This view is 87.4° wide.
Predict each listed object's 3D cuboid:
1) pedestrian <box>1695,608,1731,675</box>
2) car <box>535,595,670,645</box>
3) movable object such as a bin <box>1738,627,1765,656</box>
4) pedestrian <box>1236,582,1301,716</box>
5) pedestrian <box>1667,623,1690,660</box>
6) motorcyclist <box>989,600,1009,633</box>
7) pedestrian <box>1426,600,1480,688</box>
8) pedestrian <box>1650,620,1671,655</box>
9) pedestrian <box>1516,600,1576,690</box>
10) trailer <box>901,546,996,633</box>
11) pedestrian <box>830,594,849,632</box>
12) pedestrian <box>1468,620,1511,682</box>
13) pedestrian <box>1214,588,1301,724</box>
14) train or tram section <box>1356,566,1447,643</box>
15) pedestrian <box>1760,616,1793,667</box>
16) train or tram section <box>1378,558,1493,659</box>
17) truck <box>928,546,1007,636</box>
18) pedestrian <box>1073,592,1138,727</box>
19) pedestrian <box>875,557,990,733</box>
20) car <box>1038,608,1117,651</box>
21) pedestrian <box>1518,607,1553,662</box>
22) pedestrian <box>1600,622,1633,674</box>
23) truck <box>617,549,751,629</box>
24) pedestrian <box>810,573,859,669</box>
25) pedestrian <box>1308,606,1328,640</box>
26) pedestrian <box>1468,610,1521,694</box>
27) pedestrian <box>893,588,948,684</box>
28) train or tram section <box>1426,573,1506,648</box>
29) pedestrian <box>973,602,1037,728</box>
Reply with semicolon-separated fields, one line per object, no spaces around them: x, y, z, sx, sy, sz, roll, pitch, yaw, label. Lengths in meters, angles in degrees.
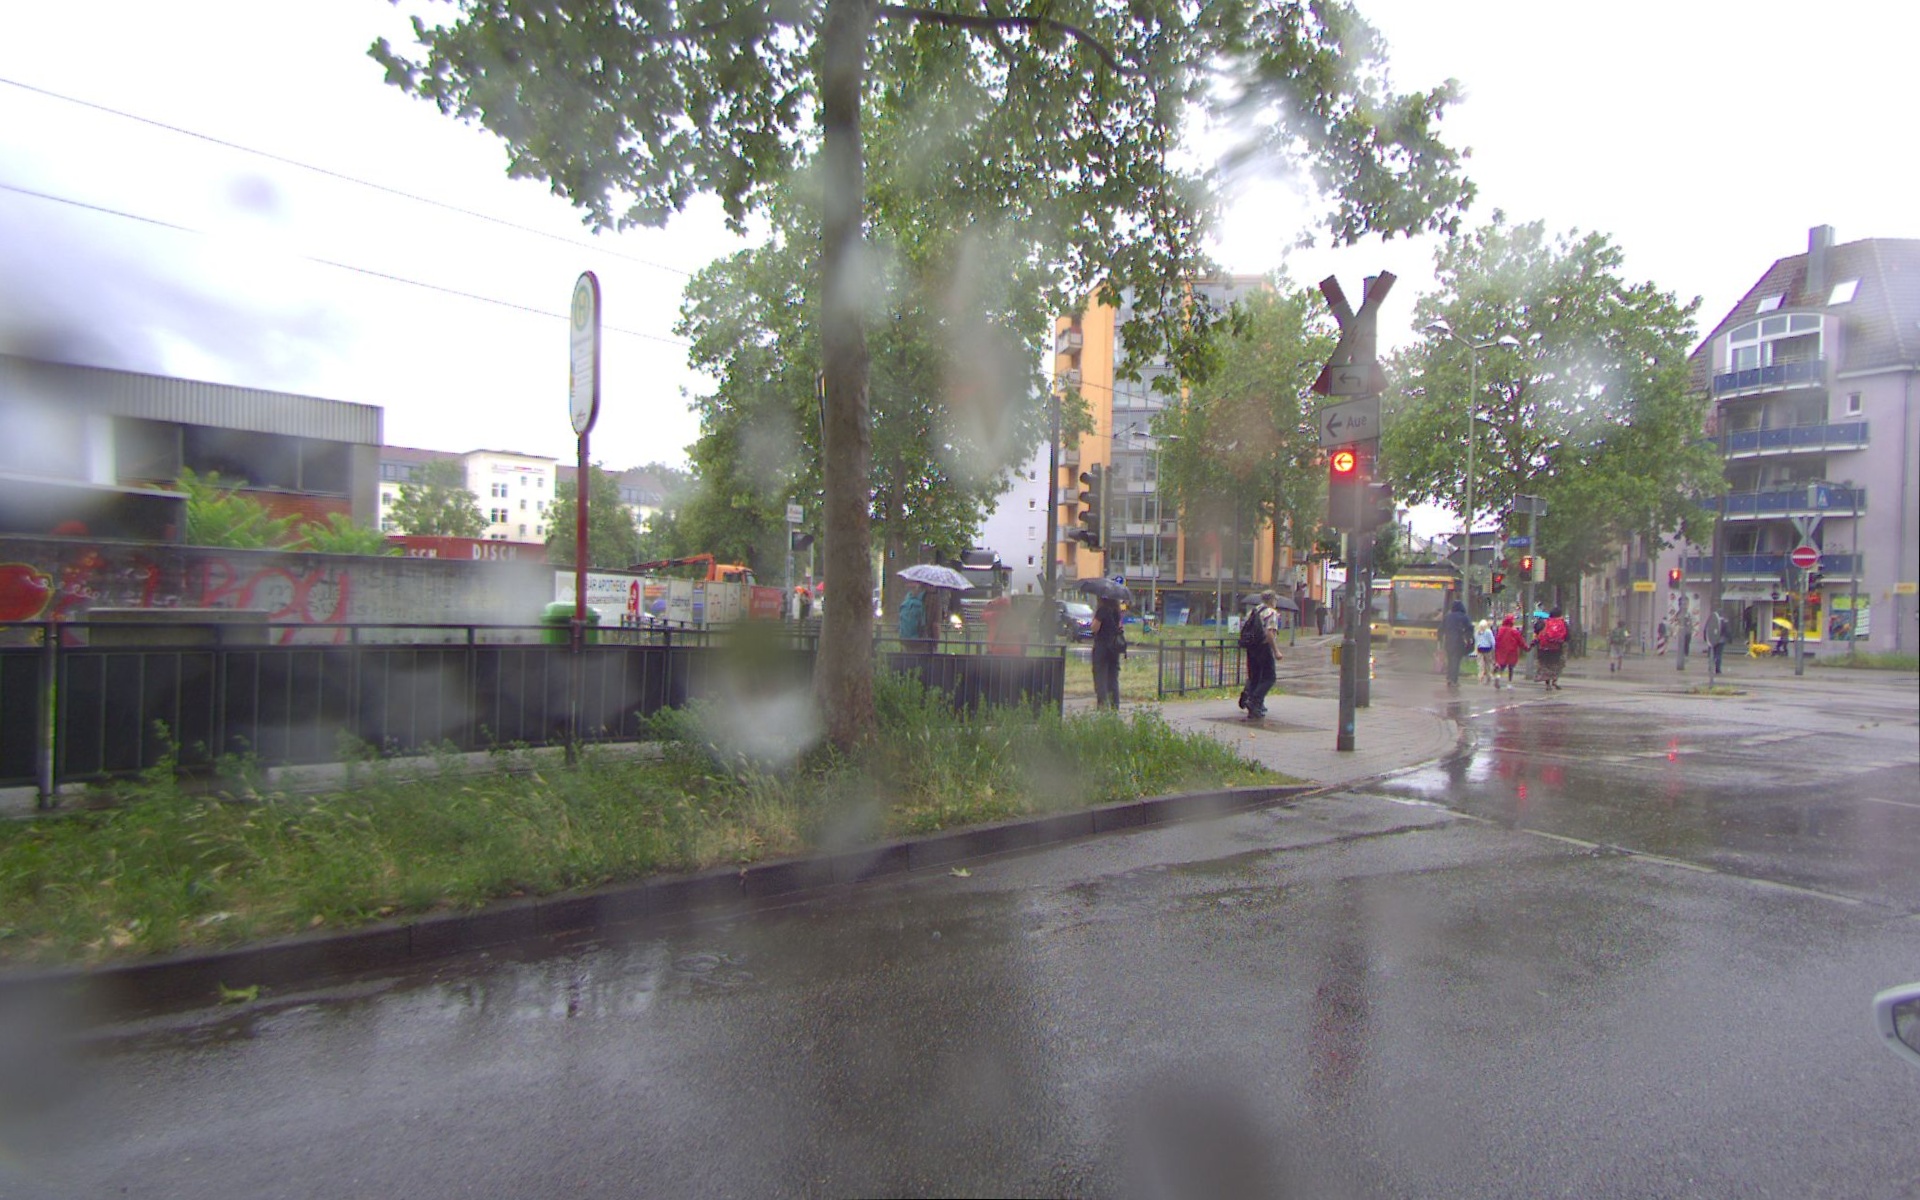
21.775;1.177;29.049;0.777;1.880;0.679;2;1;37;pedestrian
-10.430;0.580;29.403;3.447;1.323;1.405;2;0;10;car
34.930;1.827;44.330;0.661;1.253;0.745;2;0;-37;movable object such as a bin
4.554;0.701;14.873;0.854;1.889;0.892;1;0;16;pedestrian
30.577;1.755;42.760;0.740;1.553;0.788;2;0;39;pedestrian
1.937;0.811;49.556;0.767;1.635;0.773;2;0;-16;motorcyclist
9.801;0.864;19.981;0.823;1.721;0.689;-2;0;17;pedestrian
32.974;1.762;47.275;0.663;1.622;0.966;2;0;29;pedestrian
10.965;0.819;18.806;0.809;1.646;0.724;0;0;-37;pedestrian
-0.822;-0.461;50.748;2.593;3.899;10.114;2;0;-13;trailer
-6.193;0.665;51.697;0.765;1.891;0.940;2;0;4;pedestrian
12.086;1.153;22.941;0.704;1.367;0.650;1;1;-44;pedestrian
4.087;0.732;13.785;0.855;1.778;0.826;2;1;41;pedestrian
26.101;0.372;58.630;2.839;3.818;17.211;2;0;30;train or tram section
35.463;1.805;43.632;0.879;2.179;0.901;2;0;-37;pedestrian
20.596;0.381;42.833;2.819;3.593;15.339;2;0;31;train or tram section
0.271;-0.386;46.057;2.593;3.842;4.444;2;0;-13;truck
1.913;0.770;13.228;0.782;1.705;0.660;-2;0;8;pedestrian
-0.283;0.487;11.181;0.966;1.851;1.077;-2;0;15;pedestrian
4.668;1.144;40.469;1.585;1.551;4.017;1;1;-19;car
19.177;1.136;33.469;0.943;1.789;0.951;2;0;31;pedestrian
18.444;1.333;28.225;0.638;1.414;0.782;1;0;26;pedestrian
-11.931;-0.435;43.608;5.383;3.205;2.164;2;0;-16;truck
-2.556;0.429;20.378;0.768;1.891;0.936;2;0;-18;pedestrian
19.381;1.232;54.407;0.941;1.789;0.952;2;0;20;pedestrian
10.178;0.978;19.130;0.653;1.540;0.677;1;0;-37;pedestrian
-0.749;0.664;19.003;0.675;1.752;0.752;2;1;42;pedestrian
28.068;0.587;55.311;2.819;3.593;13.686;2;0;31;train or tram section
0.596;0.840;13.248;0.782;1.593;0.659;-2;0;2;pedestrian
